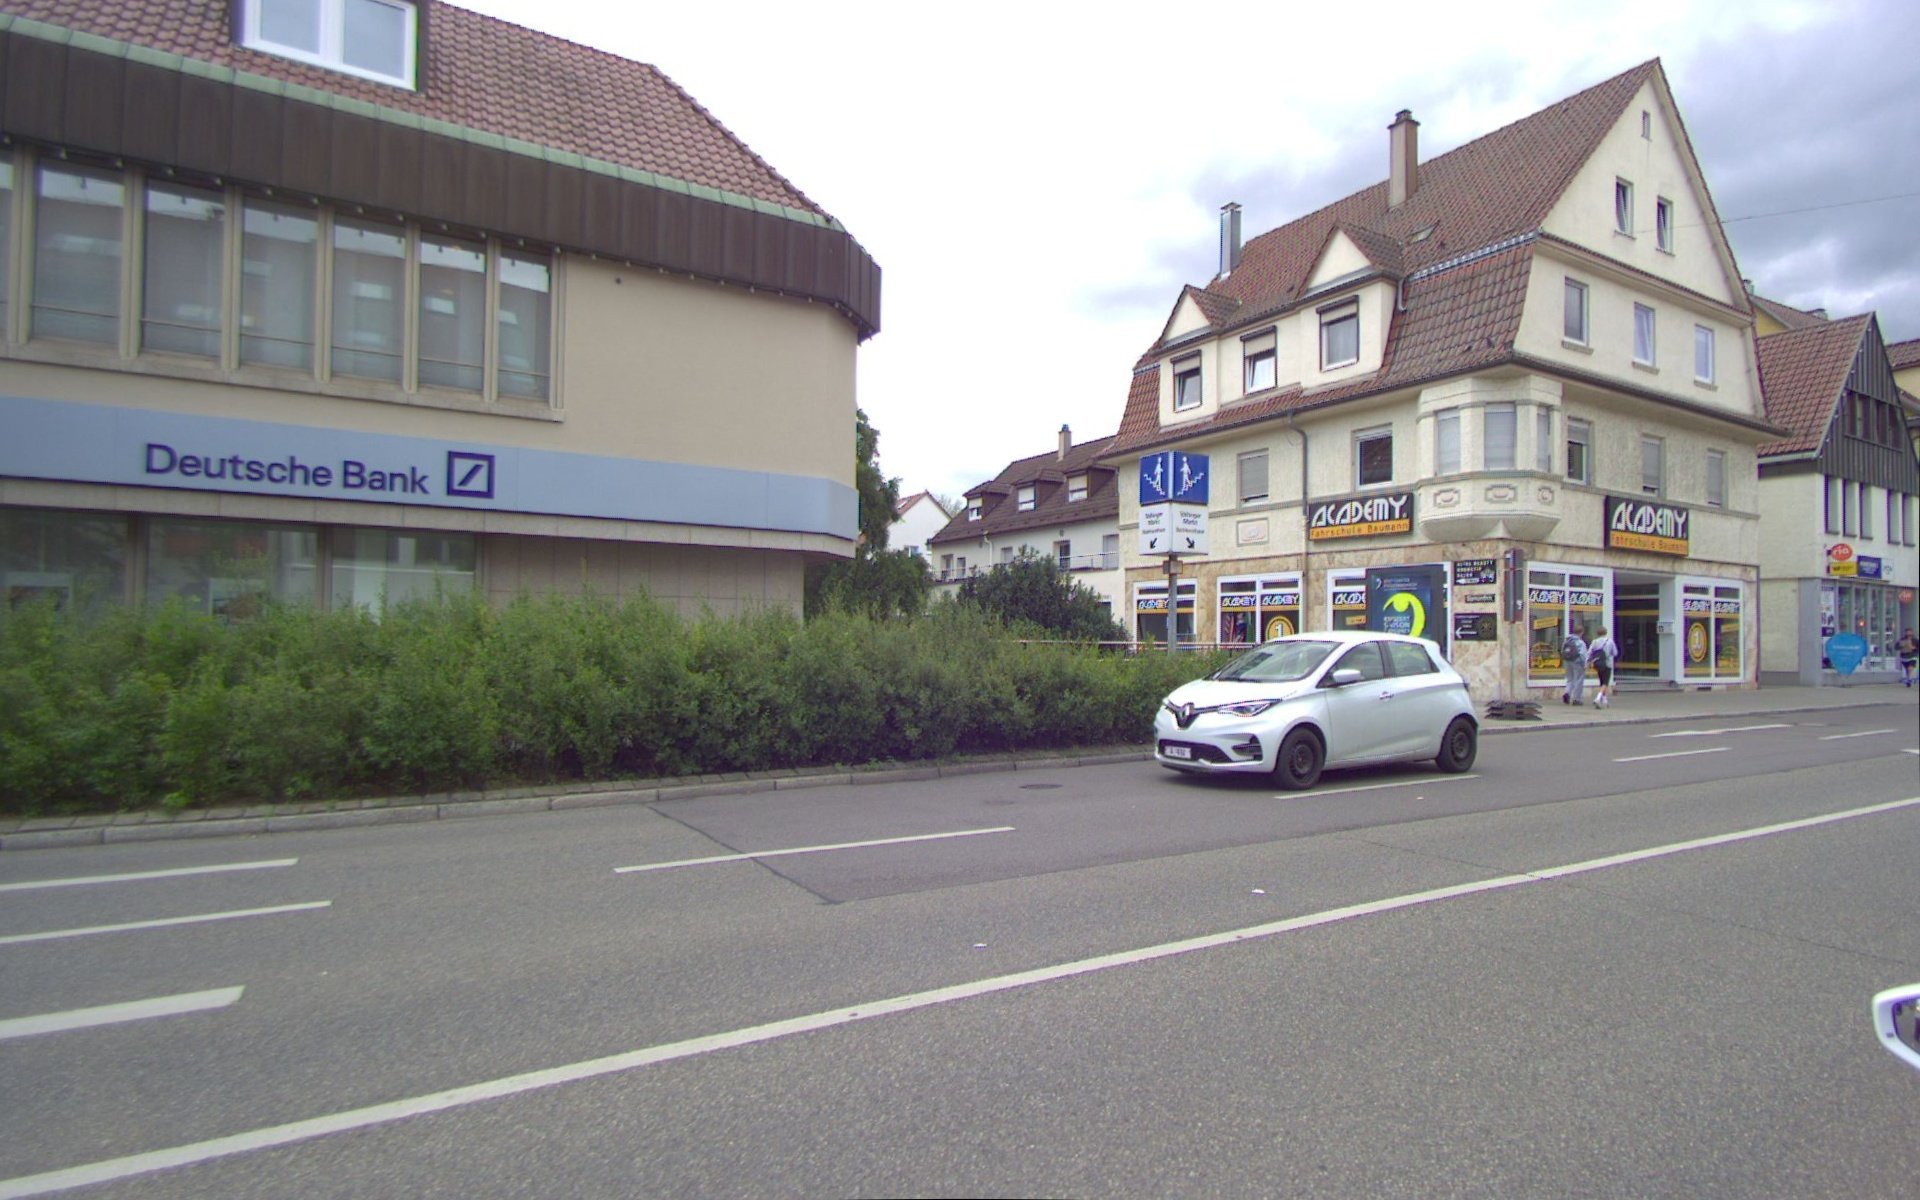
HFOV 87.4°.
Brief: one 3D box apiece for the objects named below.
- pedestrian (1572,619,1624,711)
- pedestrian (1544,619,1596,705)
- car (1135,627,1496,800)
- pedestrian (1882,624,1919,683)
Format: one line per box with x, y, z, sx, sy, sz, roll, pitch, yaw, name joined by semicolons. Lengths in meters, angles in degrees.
13.127;1.320;20.678;0.673;1.847;0.630;1;-3;-30;pedestrian
12.971;1.304;21.374;0.673;1.784;0.684;1;-3;-30;pedestrian
3.932;1.123;10.969;3.882;1.588;1.632;1;-3;-31;car
29.269;1.646;31.100;0.798;1.770;0.861;1;1;-35;pedestrian
